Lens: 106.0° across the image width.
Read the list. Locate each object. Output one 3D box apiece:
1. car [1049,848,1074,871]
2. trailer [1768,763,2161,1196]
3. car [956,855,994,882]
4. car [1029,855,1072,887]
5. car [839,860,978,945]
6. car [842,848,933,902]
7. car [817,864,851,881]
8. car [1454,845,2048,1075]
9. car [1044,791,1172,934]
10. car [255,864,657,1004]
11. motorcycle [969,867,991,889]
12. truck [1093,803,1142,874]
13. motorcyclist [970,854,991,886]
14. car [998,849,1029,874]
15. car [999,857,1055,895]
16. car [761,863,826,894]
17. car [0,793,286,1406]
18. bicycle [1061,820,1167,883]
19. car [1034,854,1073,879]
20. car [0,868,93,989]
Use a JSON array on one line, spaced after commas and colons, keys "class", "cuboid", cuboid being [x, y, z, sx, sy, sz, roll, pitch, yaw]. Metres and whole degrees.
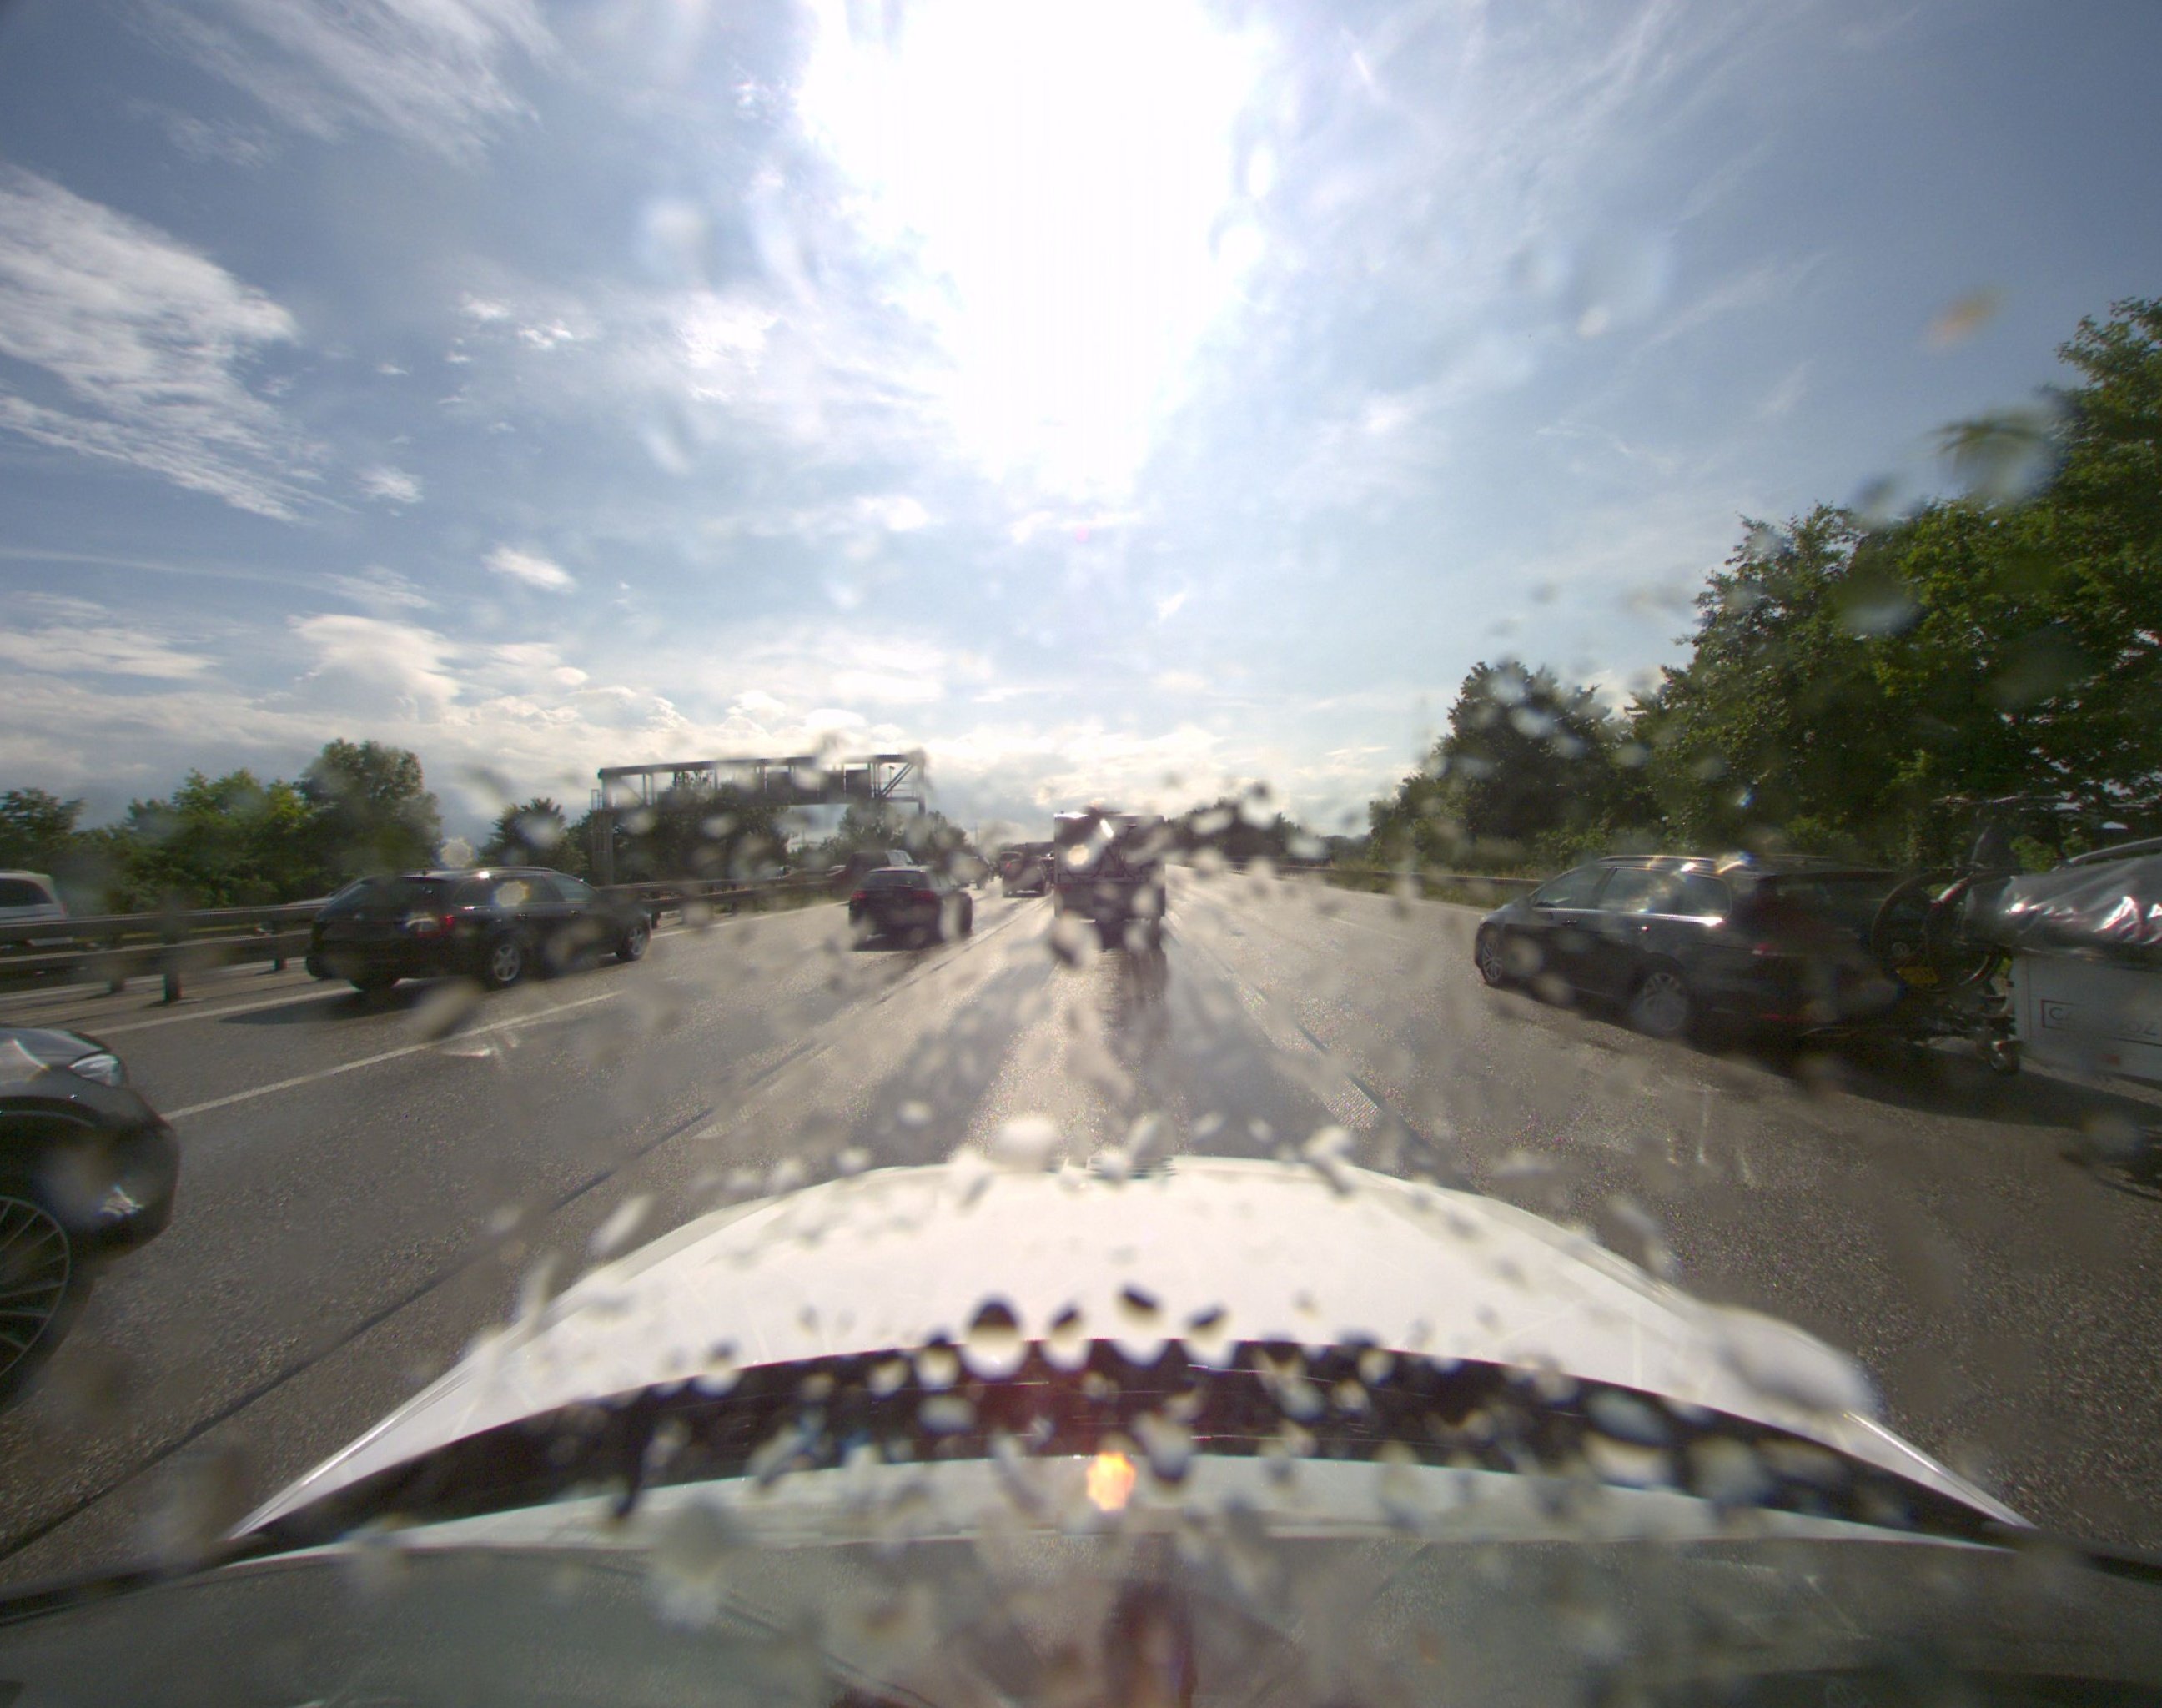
[{"class": "car", "cuboid": [-1.476, 0.428, 63.544, 1.682, 1.662, 3.643, -1, 0, 2]}, {"class": "trailer", "cuboid": [5.256, 0.494, 3.158, 1.800, 1.746, 3.966, -1, 0, -1]}, {"class": "car", "cuboid": [-6.666, 0.879, 51.620, 1.776, 1.578, 3.917, -1, 0, 1]}, {"class": "car", "cuboid": [-1.486, 0.819, 41.250, 1.856, 1.508, 4.002, -1, 0, 2]}, {"class": "car", "cuboid": [-3.274, 0.869, 16.286, 1.743, 1.433, 4.056, -1, 0, 2]}, {"class": "car", "cuboid": [-7.138, 0.716, 30.703, 1.799, 1.844, 5.423, -1, 0, 3]}, {"class": "car", "cuboid": [-21.273, 1.563, 70.280, 1.697, 1.332, 3.680, -1, 0, 2]}, {"class": "car", "cuboid": [5.302, 0.680, 7.413, 1.738, 1.431, 4.403, -1, 0, -1]}, {"class": "car", "cuboid": [0.628, 0.173, 17.433, 2.400, 2.674, 4.004, -1, 0, 3]}, {"class": "car", "cuboid": [-7.874, 0.894, 10.953, 1.913, 1.425, 4.374, -1, 0, 2]}, {"class": "motorcycle", "cuboid": [-4.943, 1.160, 40.092, 0.688, 1.027, 2.390, -1, 0, 2]}, {"class": "truck", "cuboid": [2.560, -1.015, 58.893, 3.134, 4.626, 10.740, -1, 0, 2]}, {"class": "motorcyclist", "cuboid": [-4.953, 0.770, 40.180, 0.792, 1.537, 1.094, -1, 0, 2]}, {"class": "car", "cuboid": [-5.433, 0.573, 65.886, 1.841, 1.934, 5.019, -1, 0, 2]}, {"class": "car", "cuboid": [-2.158, 0.848, 33.409, 1.751, 1.443, 4.004, -1, 0, 3]}, {"class": "car", "cuboid": [-14.652, 1.223, 41.687, 1.769, 1.442, 4.002, -1, 0, 2]}, {"class": "car", "cuboid": [-3.956, 0.687, 0.710, 1.869, 1.679, 4.628, -1, 0, 2]}, {"class": "bicycle", "cuboid": [0.618, -0.041, 15.213, 1.925, 1.141, 0.384, -1, -1, 4]}, {"class": "car", "cuboid": [-1.645, 0.720, 49.289, 1.979, 1.458, 3.830, -1, 0, 3]}, {"class": "car", "cuboid": [-19.308, 1.284, 12.560, 1.986, 2.013, 4.953, -1, 0, 2]}]
